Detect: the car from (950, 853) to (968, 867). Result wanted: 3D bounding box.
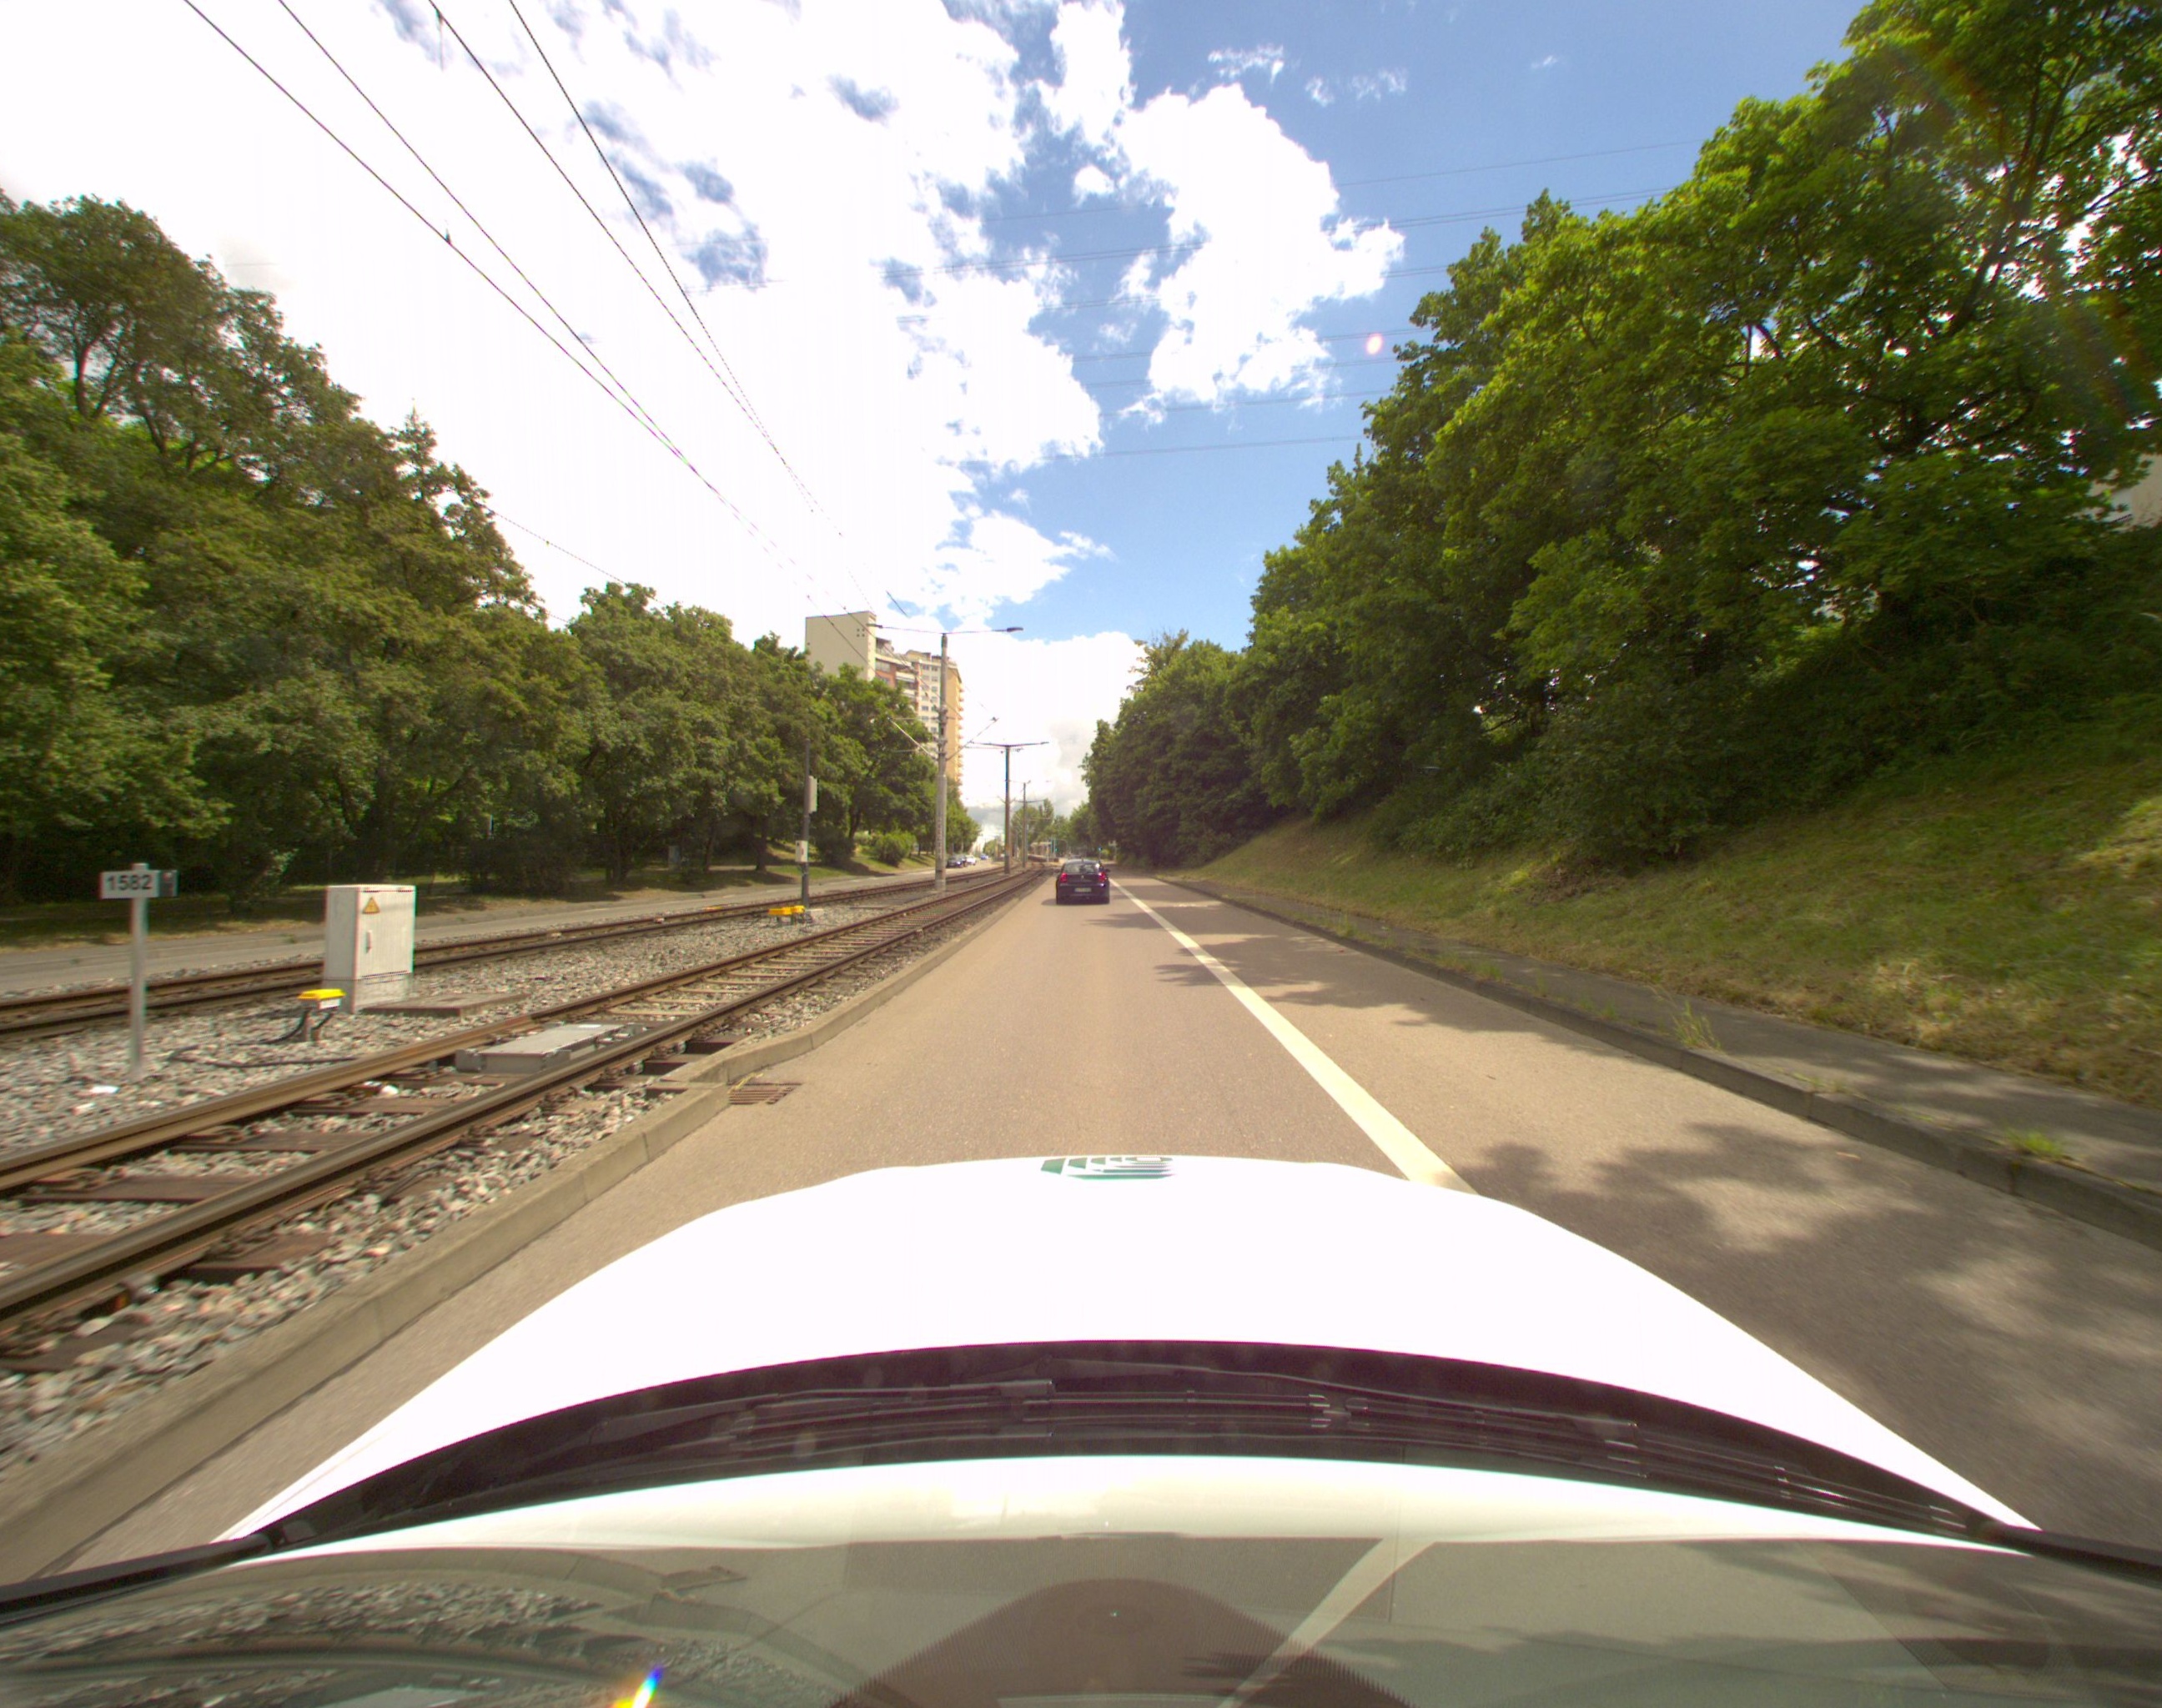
[{"bbox_3d":[-15.049,0.767,100.841,1.770,1.630,4.376,-1,-1,-3],"label":"car"}]

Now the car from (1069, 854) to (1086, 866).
[{"bbox_3d":[-0.454,0.765,100.697,1.778,1.459,3.914,0,0,-5],"label":"car"}]

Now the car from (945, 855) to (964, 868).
[{"bbox_3d":[-14.593,0.856,93.995,1.770,1.498,3.992,0,0,-3],"label":"car"}]

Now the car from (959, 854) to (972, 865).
[{"bbox_3d":[-16.671,0.803,117.646,1.779,1.532,4.235,-1,0,-6],"label":"car"}]

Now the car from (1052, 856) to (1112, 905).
[{"bbox_3d":[-0.047,0.831,27.012,1.777,1.459,3.917,-1,0,-3],"label":"car"}]

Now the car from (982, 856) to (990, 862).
[{"bbox_3d":[-23.372,1.204,200.881,1.717,1.442,3.927,0,0,-12],"label":"car"}]
